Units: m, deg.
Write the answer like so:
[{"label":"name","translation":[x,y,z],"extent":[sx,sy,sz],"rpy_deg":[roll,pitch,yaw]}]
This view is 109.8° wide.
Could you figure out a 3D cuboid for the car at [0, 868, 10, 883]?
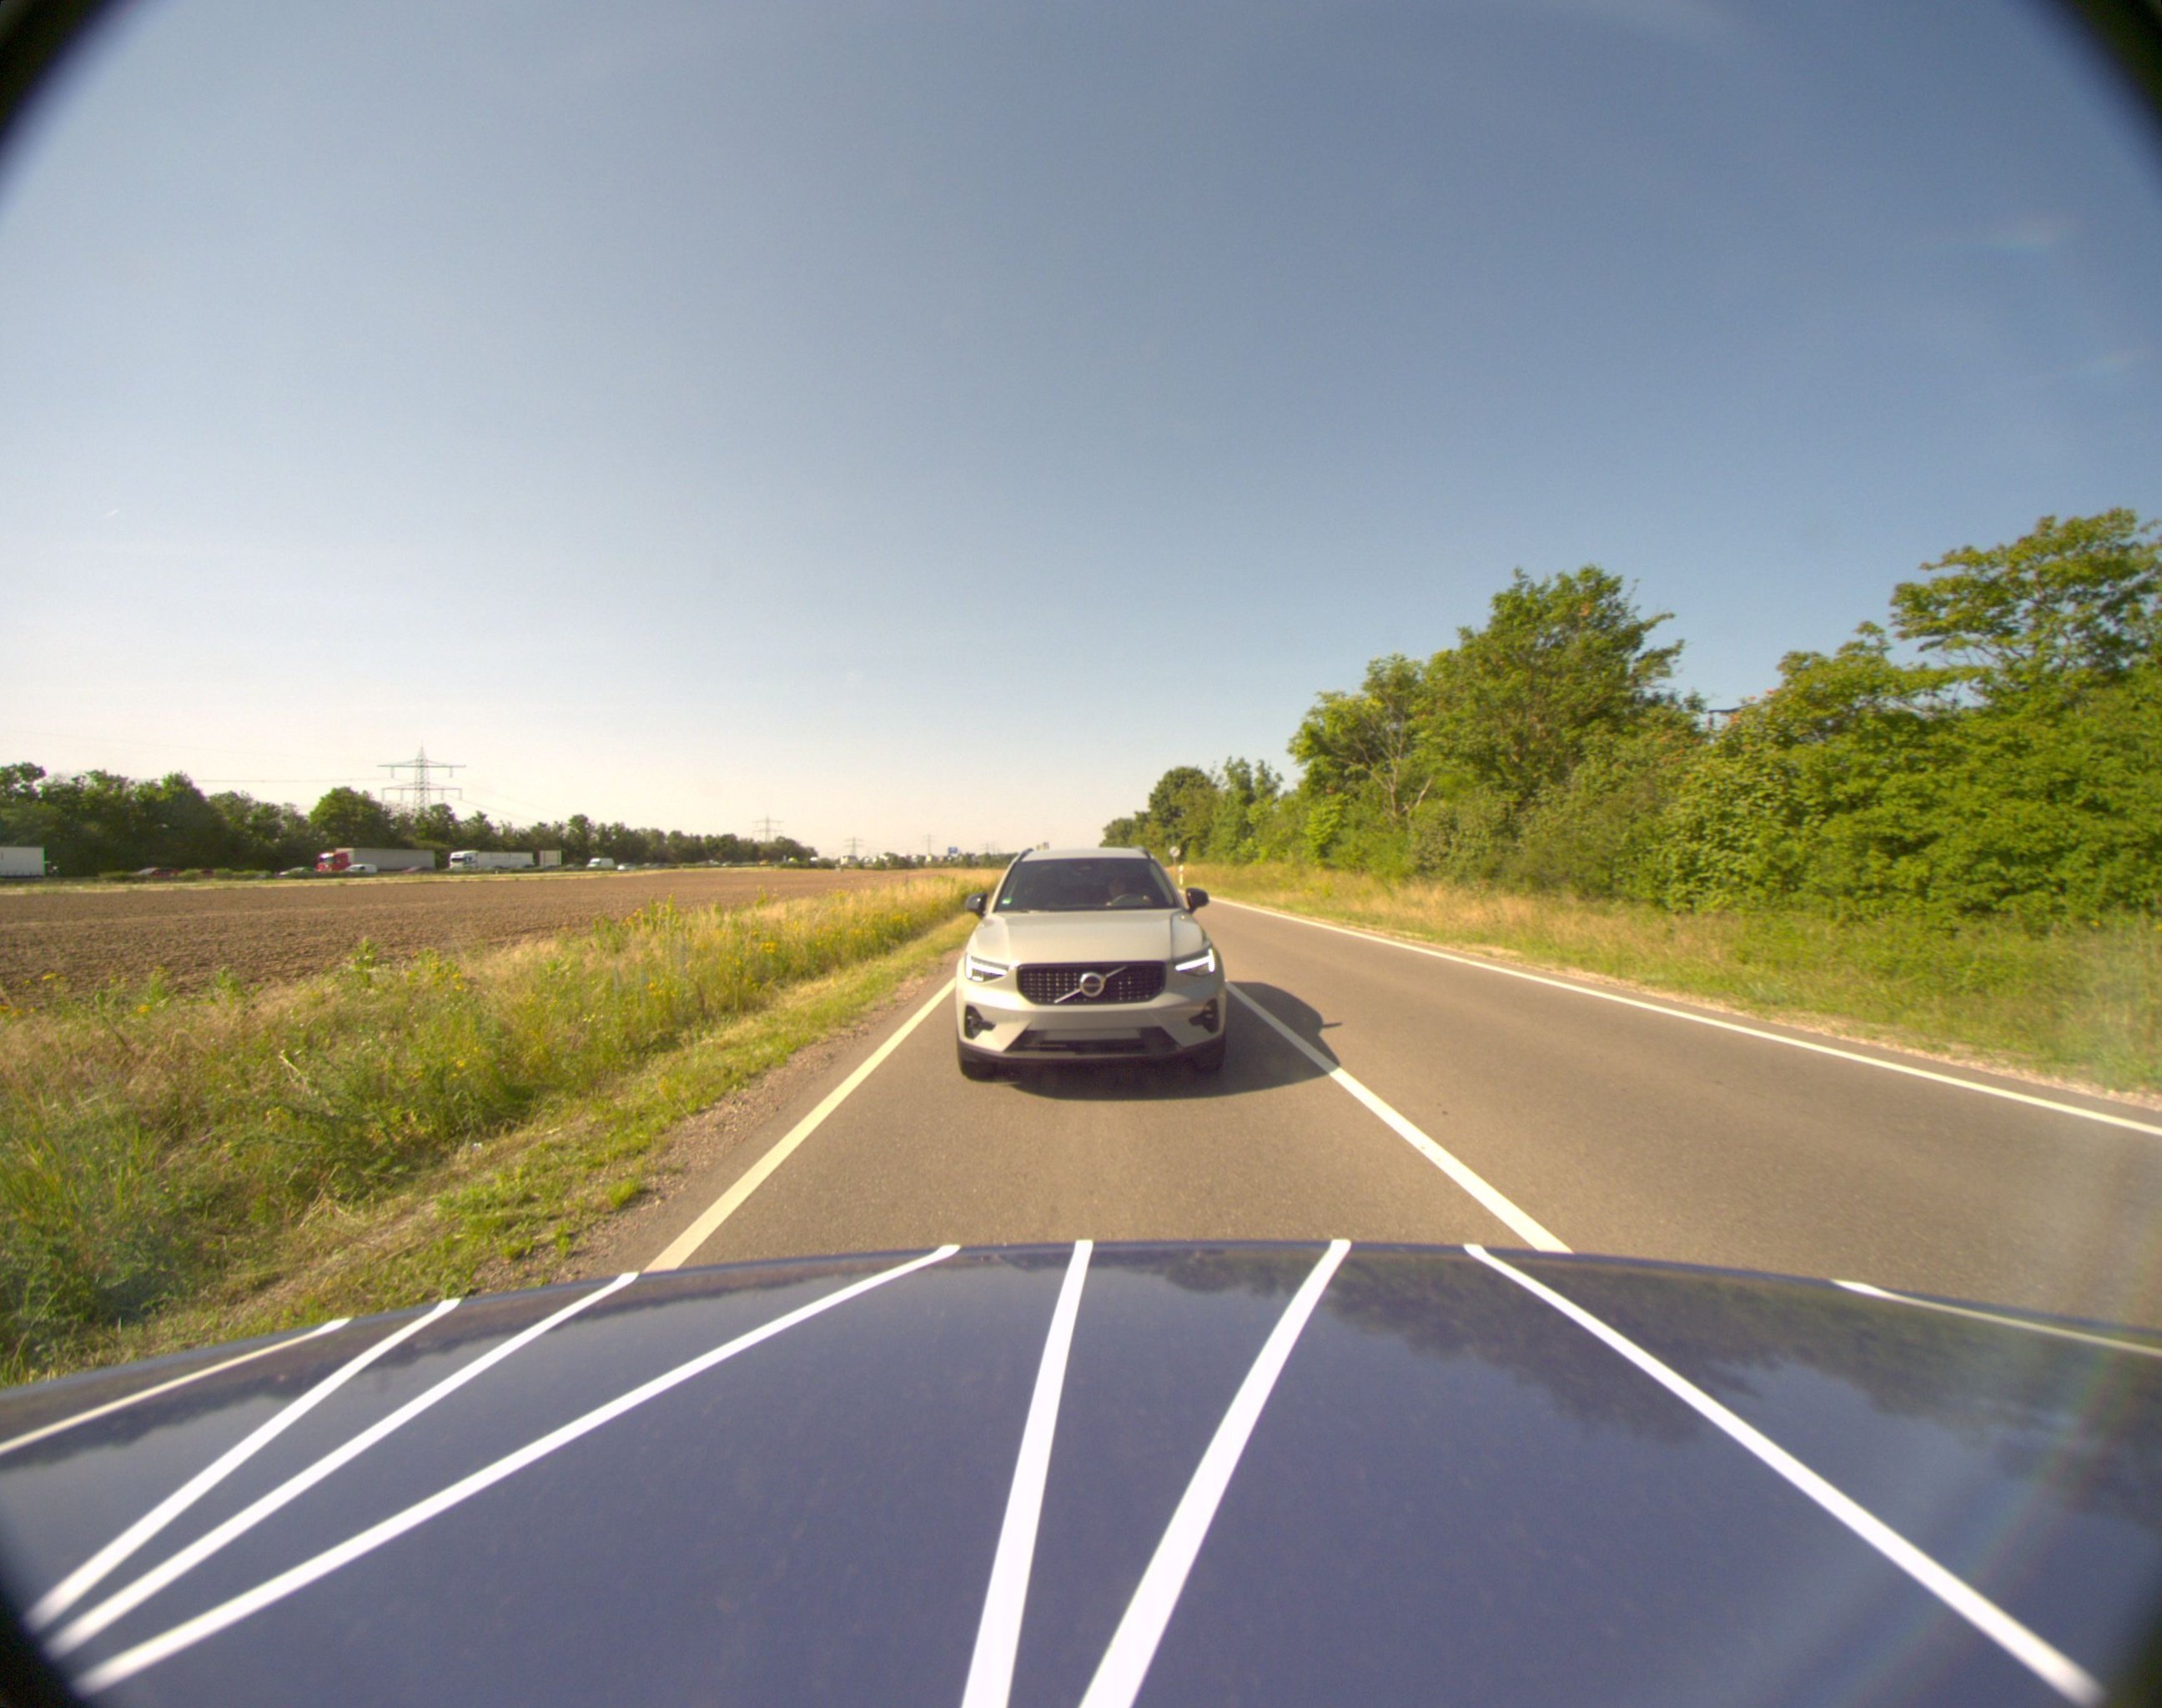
[{"label":"car","translation":[-97.339,1.918,66.292],"extent":[1.855,1.377,4.247],"rpy_deg":[-2,-1,-2]}]

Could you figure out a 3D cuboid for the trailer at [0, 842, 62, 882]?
[{"label":"trailer","translation":[-102.850,0.740,68.864],"extent":[3.079,3.711,13.365],"rpy_deg":[-1,0,0]}]

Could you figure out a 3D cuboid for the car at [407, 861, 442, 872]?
[{"label":"car","translation":[-97.601,1.886,113.014],"extent":[1.707,1.500,4.093],"rpy_deg":[-2,0,-1]}]

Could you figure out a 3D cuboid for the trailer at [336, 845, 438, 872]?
[{"label":"trailer","translation":[-104.055,0.668,114.416],"extent":[2.953,3.711,13.780],"rpy_deg":[-1,0,-1]}]

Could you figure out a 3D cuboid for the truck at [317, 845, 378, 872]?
[{"label":"truck","translation":[-103.927,0.664,107.839],"extent":[2.953,3.711,5.869],"rpy_deg":[-1,0,-1]}]

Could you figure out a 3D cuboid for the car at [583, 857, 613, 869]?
[{"label":"car","translation":[-99.720,1.838,157.007],"extent":[2.042,2.432,6.413],"rpy_deg":[-1,0,-1]}]

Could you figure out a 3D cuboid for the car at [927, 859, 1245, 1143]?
[{"label":"car","translation":[0.015,0.882,6.560],"extent":[1.840,1.627,4.135],"rpy_deg":[-1,0,-1]}]

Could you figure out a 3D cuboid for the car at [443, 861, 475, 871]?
[{"label":"car","translation":[-97.883,1.903,119.554],"extent":[1.707,1.500,4.093],"rpy_deg":[-2,0,-1]}]

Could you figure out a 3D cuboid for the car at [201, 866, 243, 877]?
[{"label":"car","translation":[-102.868,2.076,91.026],"extent":[1.344,1.212,3.291],"rpy_deg":[-2,0,-2]}]

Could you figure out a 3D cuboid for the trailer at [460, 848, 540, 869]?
[{"label":"trailer","translation":[-104.192,0.748,136.745],"extent":[3.211,3.510,15.080],"rpy_deg":[0,0,-2]}]

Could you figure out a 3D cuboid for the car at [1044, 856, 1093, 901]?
[{"label":"car","translation":[-0.525,0.922,30.144],"extent":[1.790,1.664,3.999],"rpy_deg":[-1,0,-2]}]

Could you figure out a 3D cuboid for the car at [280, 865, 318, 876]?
[{"label":"car","translation":[-98.083,2.099,95.338],"extent":[1.344,1.276,3.291],"rpy_deg":[-2,0,-3]}]

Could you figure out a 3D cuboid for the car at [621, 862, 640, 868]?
[{"label":"car","translation":[-90.210,2.178,152.126],"extent":[1.550,1.227,3.619],"rpy_deg":[-3,0,-2]}]

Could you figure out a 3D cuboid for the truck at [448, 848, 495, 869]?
[{"label":"truck","translation":[-103.964,0.723,129.785],"extent":[3.211,3.510,6.108],"rpy_deg":[0,0,-2]}]

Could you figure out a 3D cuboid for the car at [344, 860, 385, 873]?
[{"label":"car","translation":[-97.529,1.741,103.507],"extent":[1.707,1.629,4.093],"rpy_deg":[-2,0,-2]}]

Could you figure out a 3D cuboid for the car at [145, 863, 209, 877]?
[{"label":"car","translation":[-97.456,1.701,81.948],"extent":[1.855,1.377,4.247],"rpy_deg":[-2,-1,-2]}]
